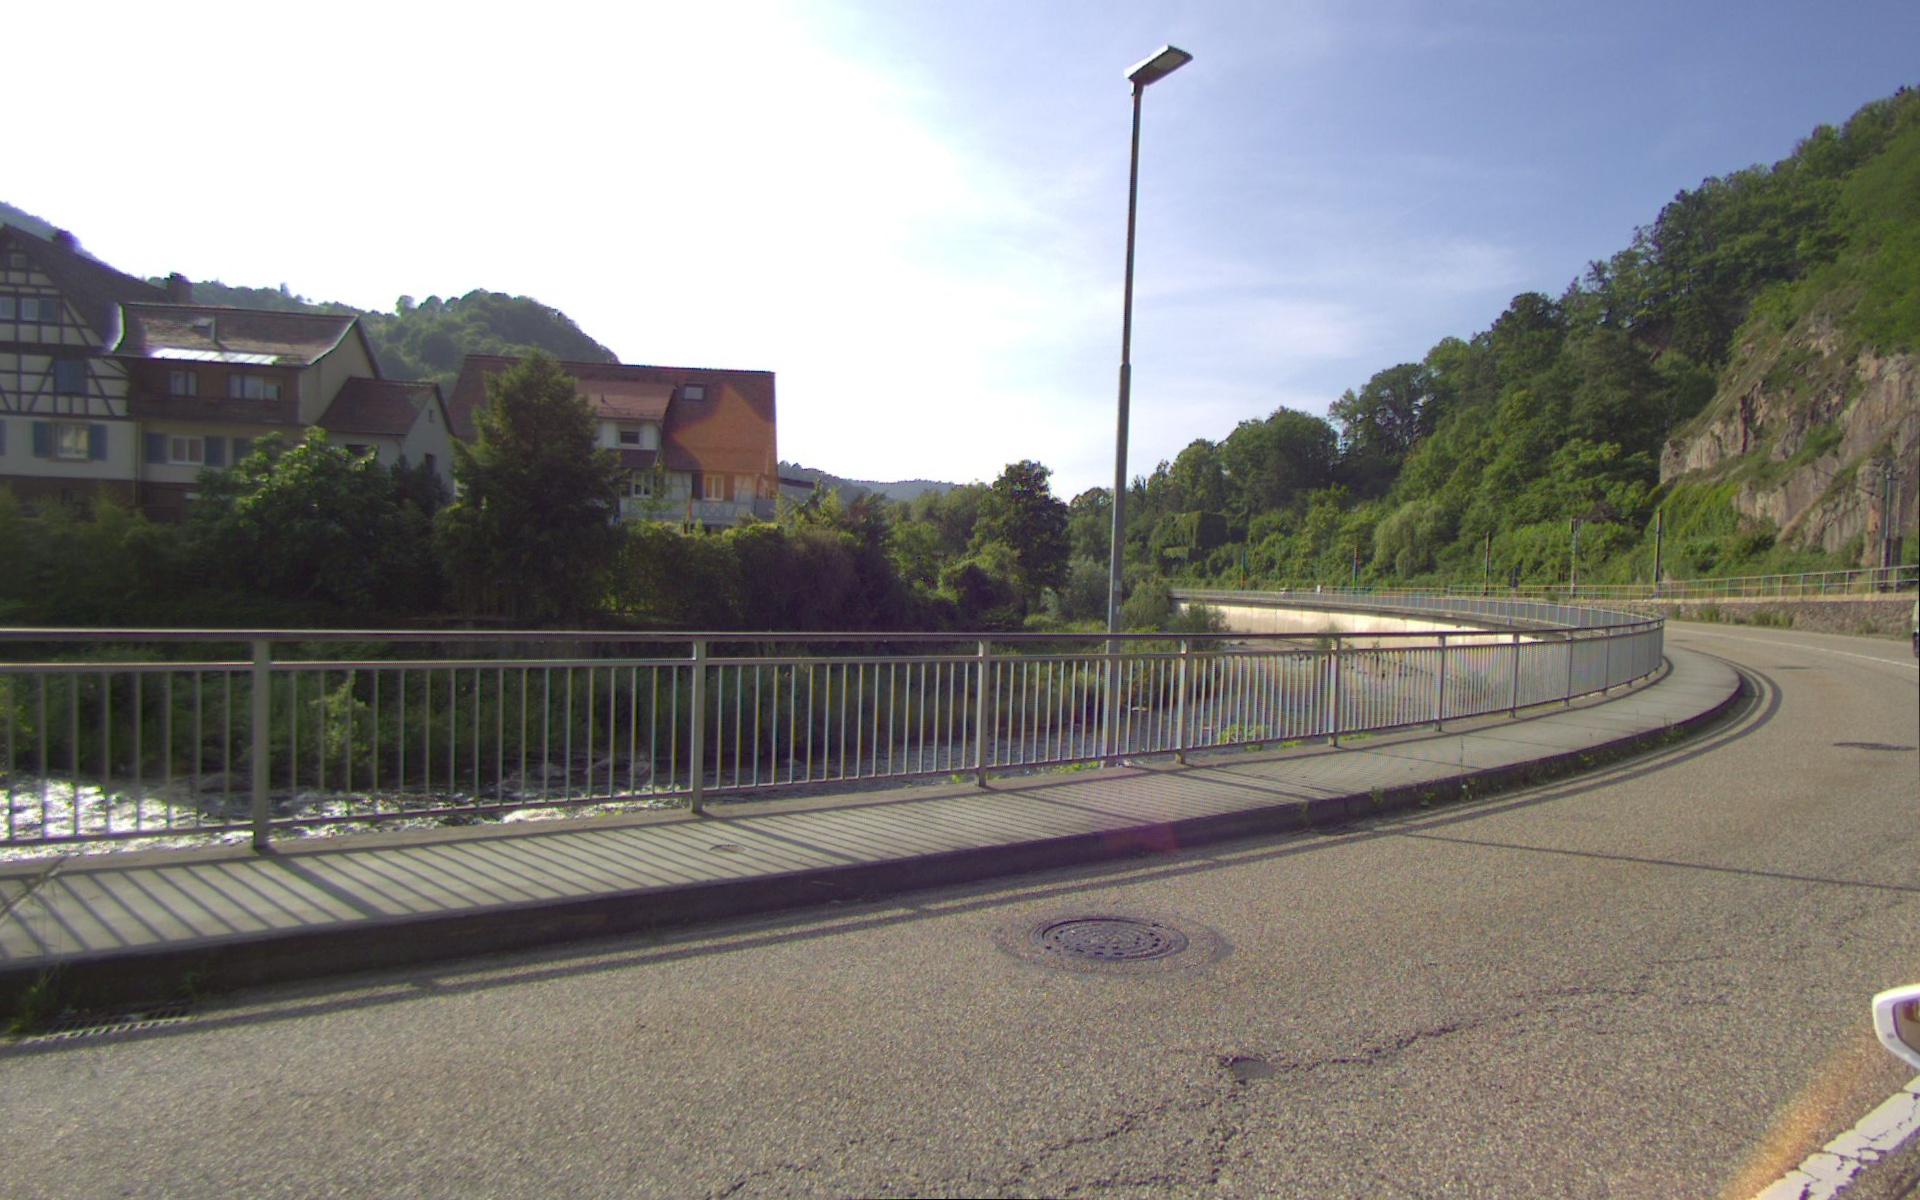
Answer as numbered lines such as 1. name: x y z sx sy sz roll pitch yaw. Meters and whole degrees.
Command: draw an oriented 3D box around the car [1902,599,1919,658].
1. car: 28.338 0.839 28.278 1.846 1.678 3.990 0 1 31
